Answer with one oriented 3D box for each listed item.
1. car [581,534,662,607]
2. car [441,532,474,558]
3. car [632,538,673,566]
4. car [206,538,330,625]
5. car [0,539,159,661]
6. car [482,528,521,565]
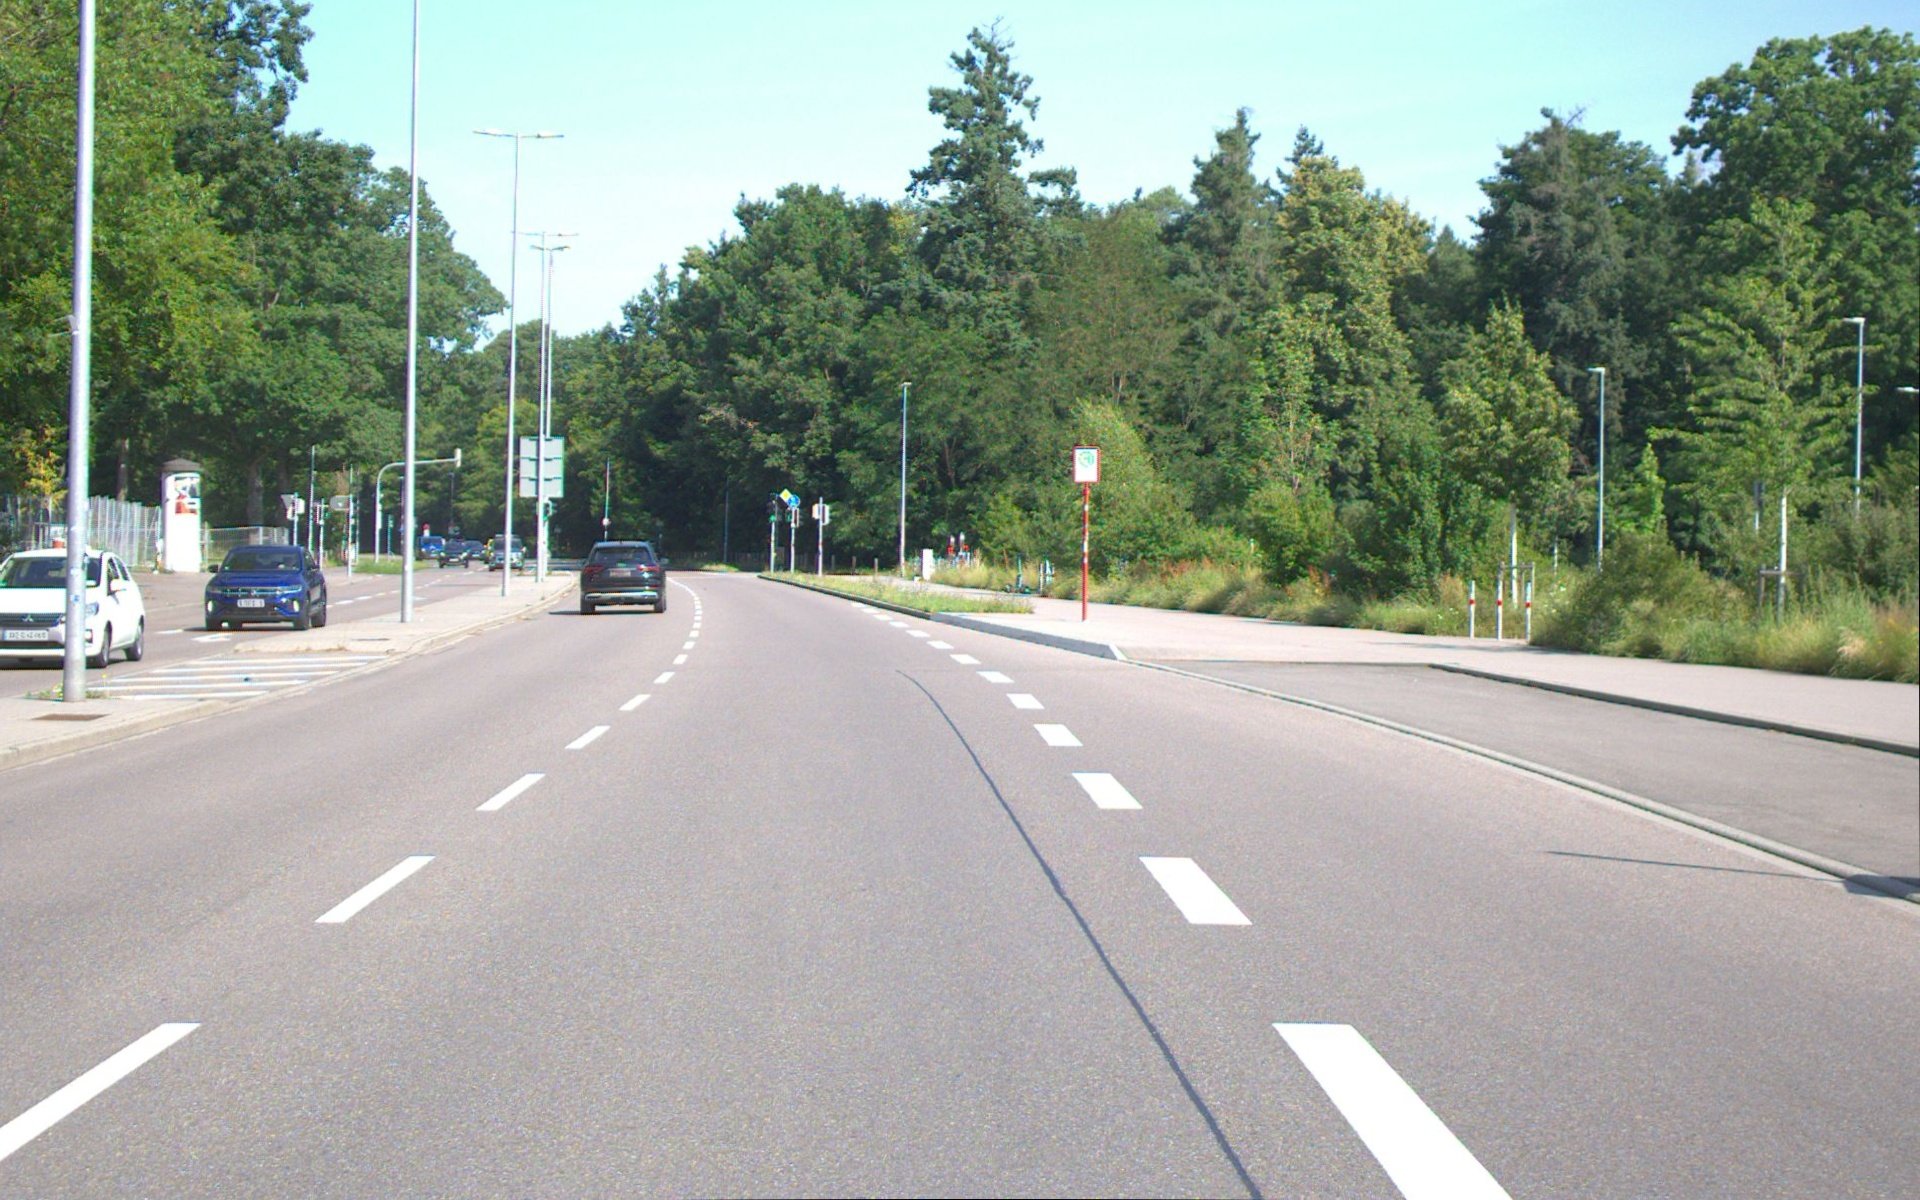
[{"bbox_3d":[-7.450,-0.676,75.459,1.687,1.539,4.149,0,1,-7],"label":"car"},{"bbox_3d":[-29.595,-3.258,202.688,1.793,1.473,4.001,1,1,-7],"label":"car"},{"bbox_3d":[-16.212,-2.532,181.297,1.940,1.415,4.294,1,1,-7],"label":"car"},{"bbox_3d":[-12.449,-0.360,62.027,1.753,1.481,3.948,-1,1,-5],"label":"car"},{"bbox_3d":[-11.430,-0.029,43.927,1.623,1.461,3.801,-1,1,-2],"label":"car"},{"bbox_3d":[-24.158,-2.830,181.415,1.841,1.925,4.630,0,1,-5],"label":"car"}]
